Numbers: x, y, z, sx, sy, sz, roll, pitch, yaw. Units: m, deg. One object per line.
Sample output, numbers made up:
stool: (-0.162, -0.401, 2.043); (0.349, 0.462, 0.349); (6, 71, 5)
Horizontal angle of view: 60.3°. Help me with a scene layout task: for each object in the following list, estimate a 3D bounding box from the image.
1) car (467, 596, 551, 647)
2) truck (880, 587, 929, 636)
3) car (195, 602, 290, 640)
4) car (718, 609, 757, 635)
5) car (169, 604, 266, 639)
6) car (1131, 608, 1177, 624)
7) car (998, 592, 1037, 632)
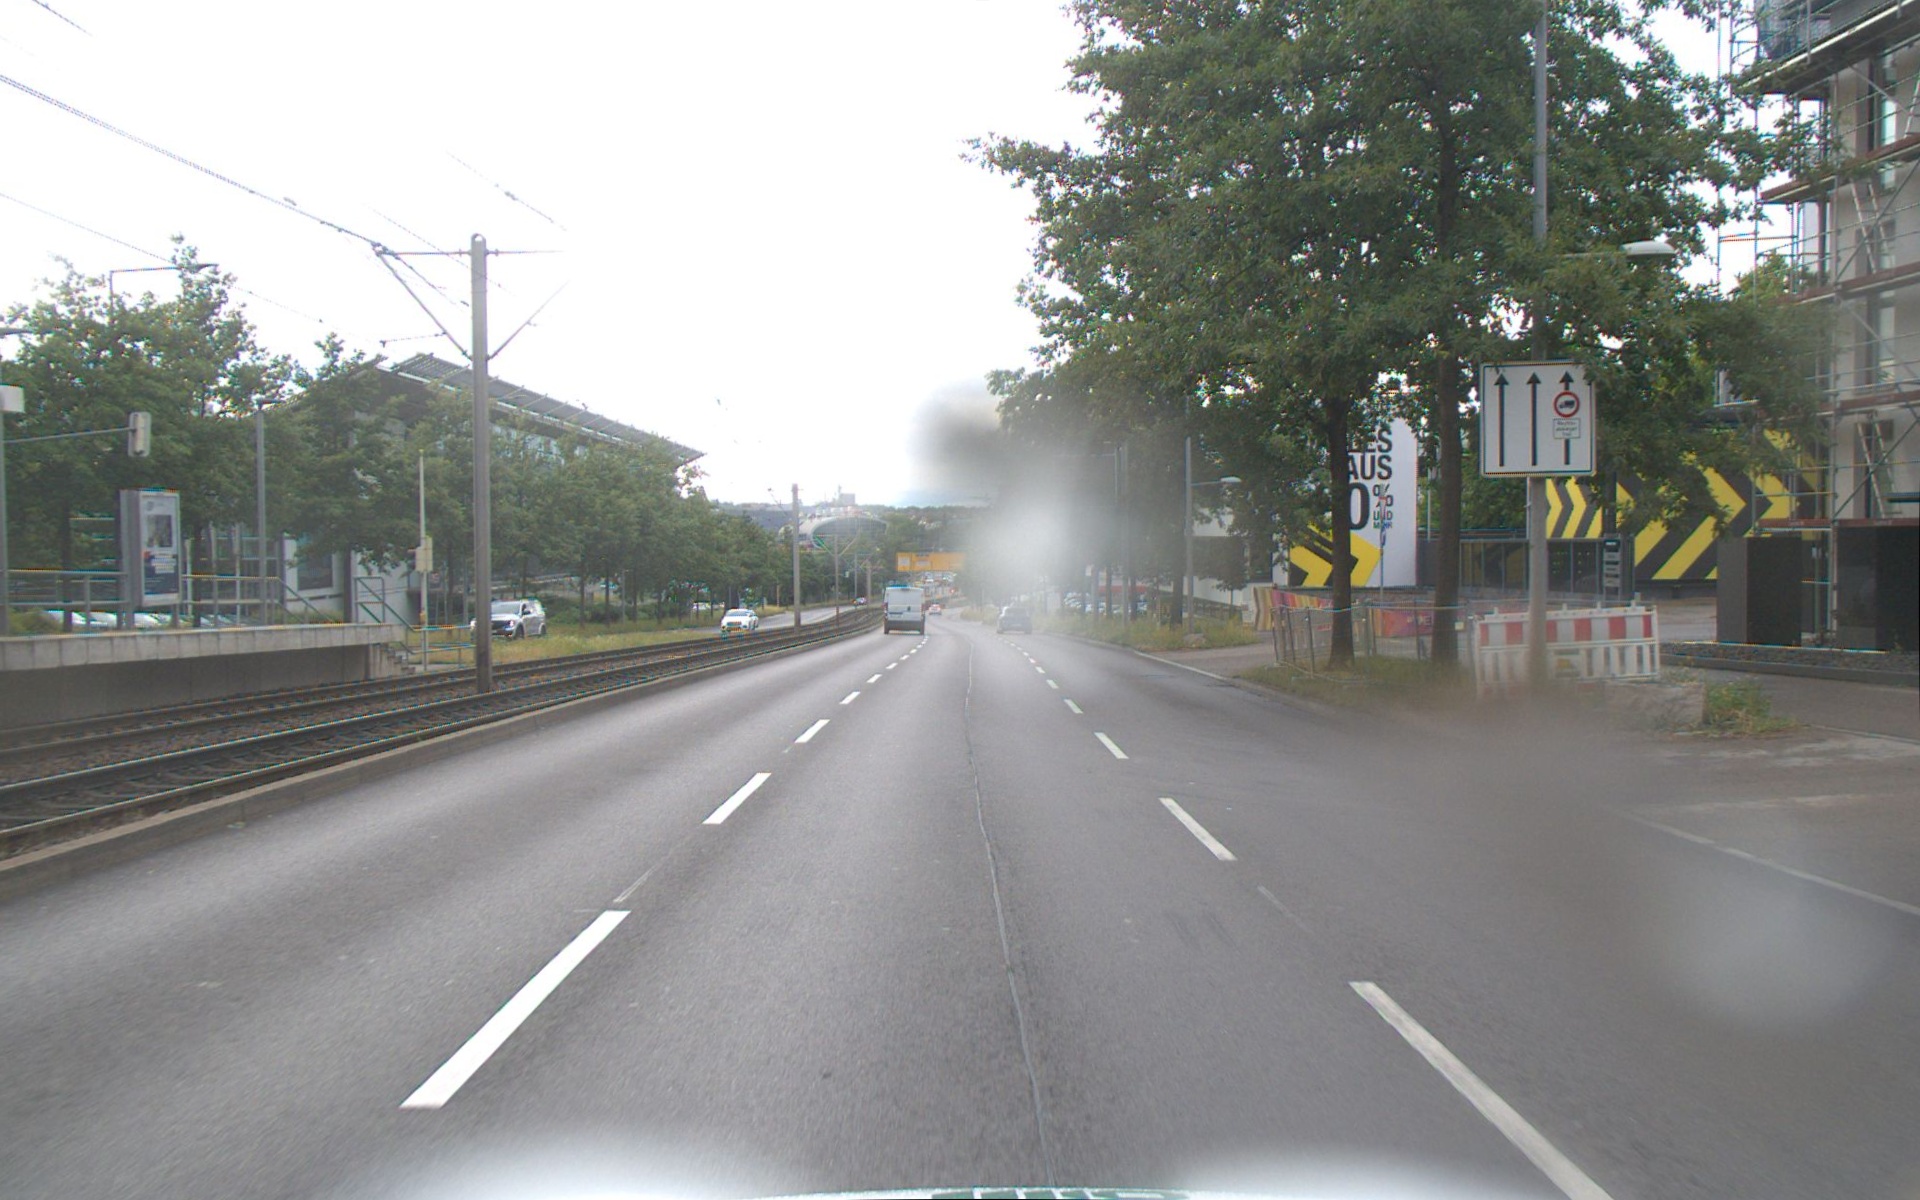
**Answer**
car: (-17.946, 0.812, 65.998); (1.953, 1.879, 5.001); (-2, 0, 0)
truck: (-2.739, 0.550, 81.892); (2.313, 2.301, 5.303); (1, -1, -2)
car: (-36.421, 1.060, 84.024); (3.987, 1.869, 1.863); (1, -1, 2)
car: (-14.149, 1.388, 105.472); (1.800, 1.469, 4.428); (-2, 0, 0)
car: (-36.425, 1.054, 81.203); (3.969, 1.646, 1.638); (1, -1, 2)
car: (16.904, 1.391, 144.373); (3.903, 1.378, 2.001); (1, -1, 3)
car: (3.042, 0.629, 88.225); (1.953, 2.049, 3.934); (1, -1, 0)
